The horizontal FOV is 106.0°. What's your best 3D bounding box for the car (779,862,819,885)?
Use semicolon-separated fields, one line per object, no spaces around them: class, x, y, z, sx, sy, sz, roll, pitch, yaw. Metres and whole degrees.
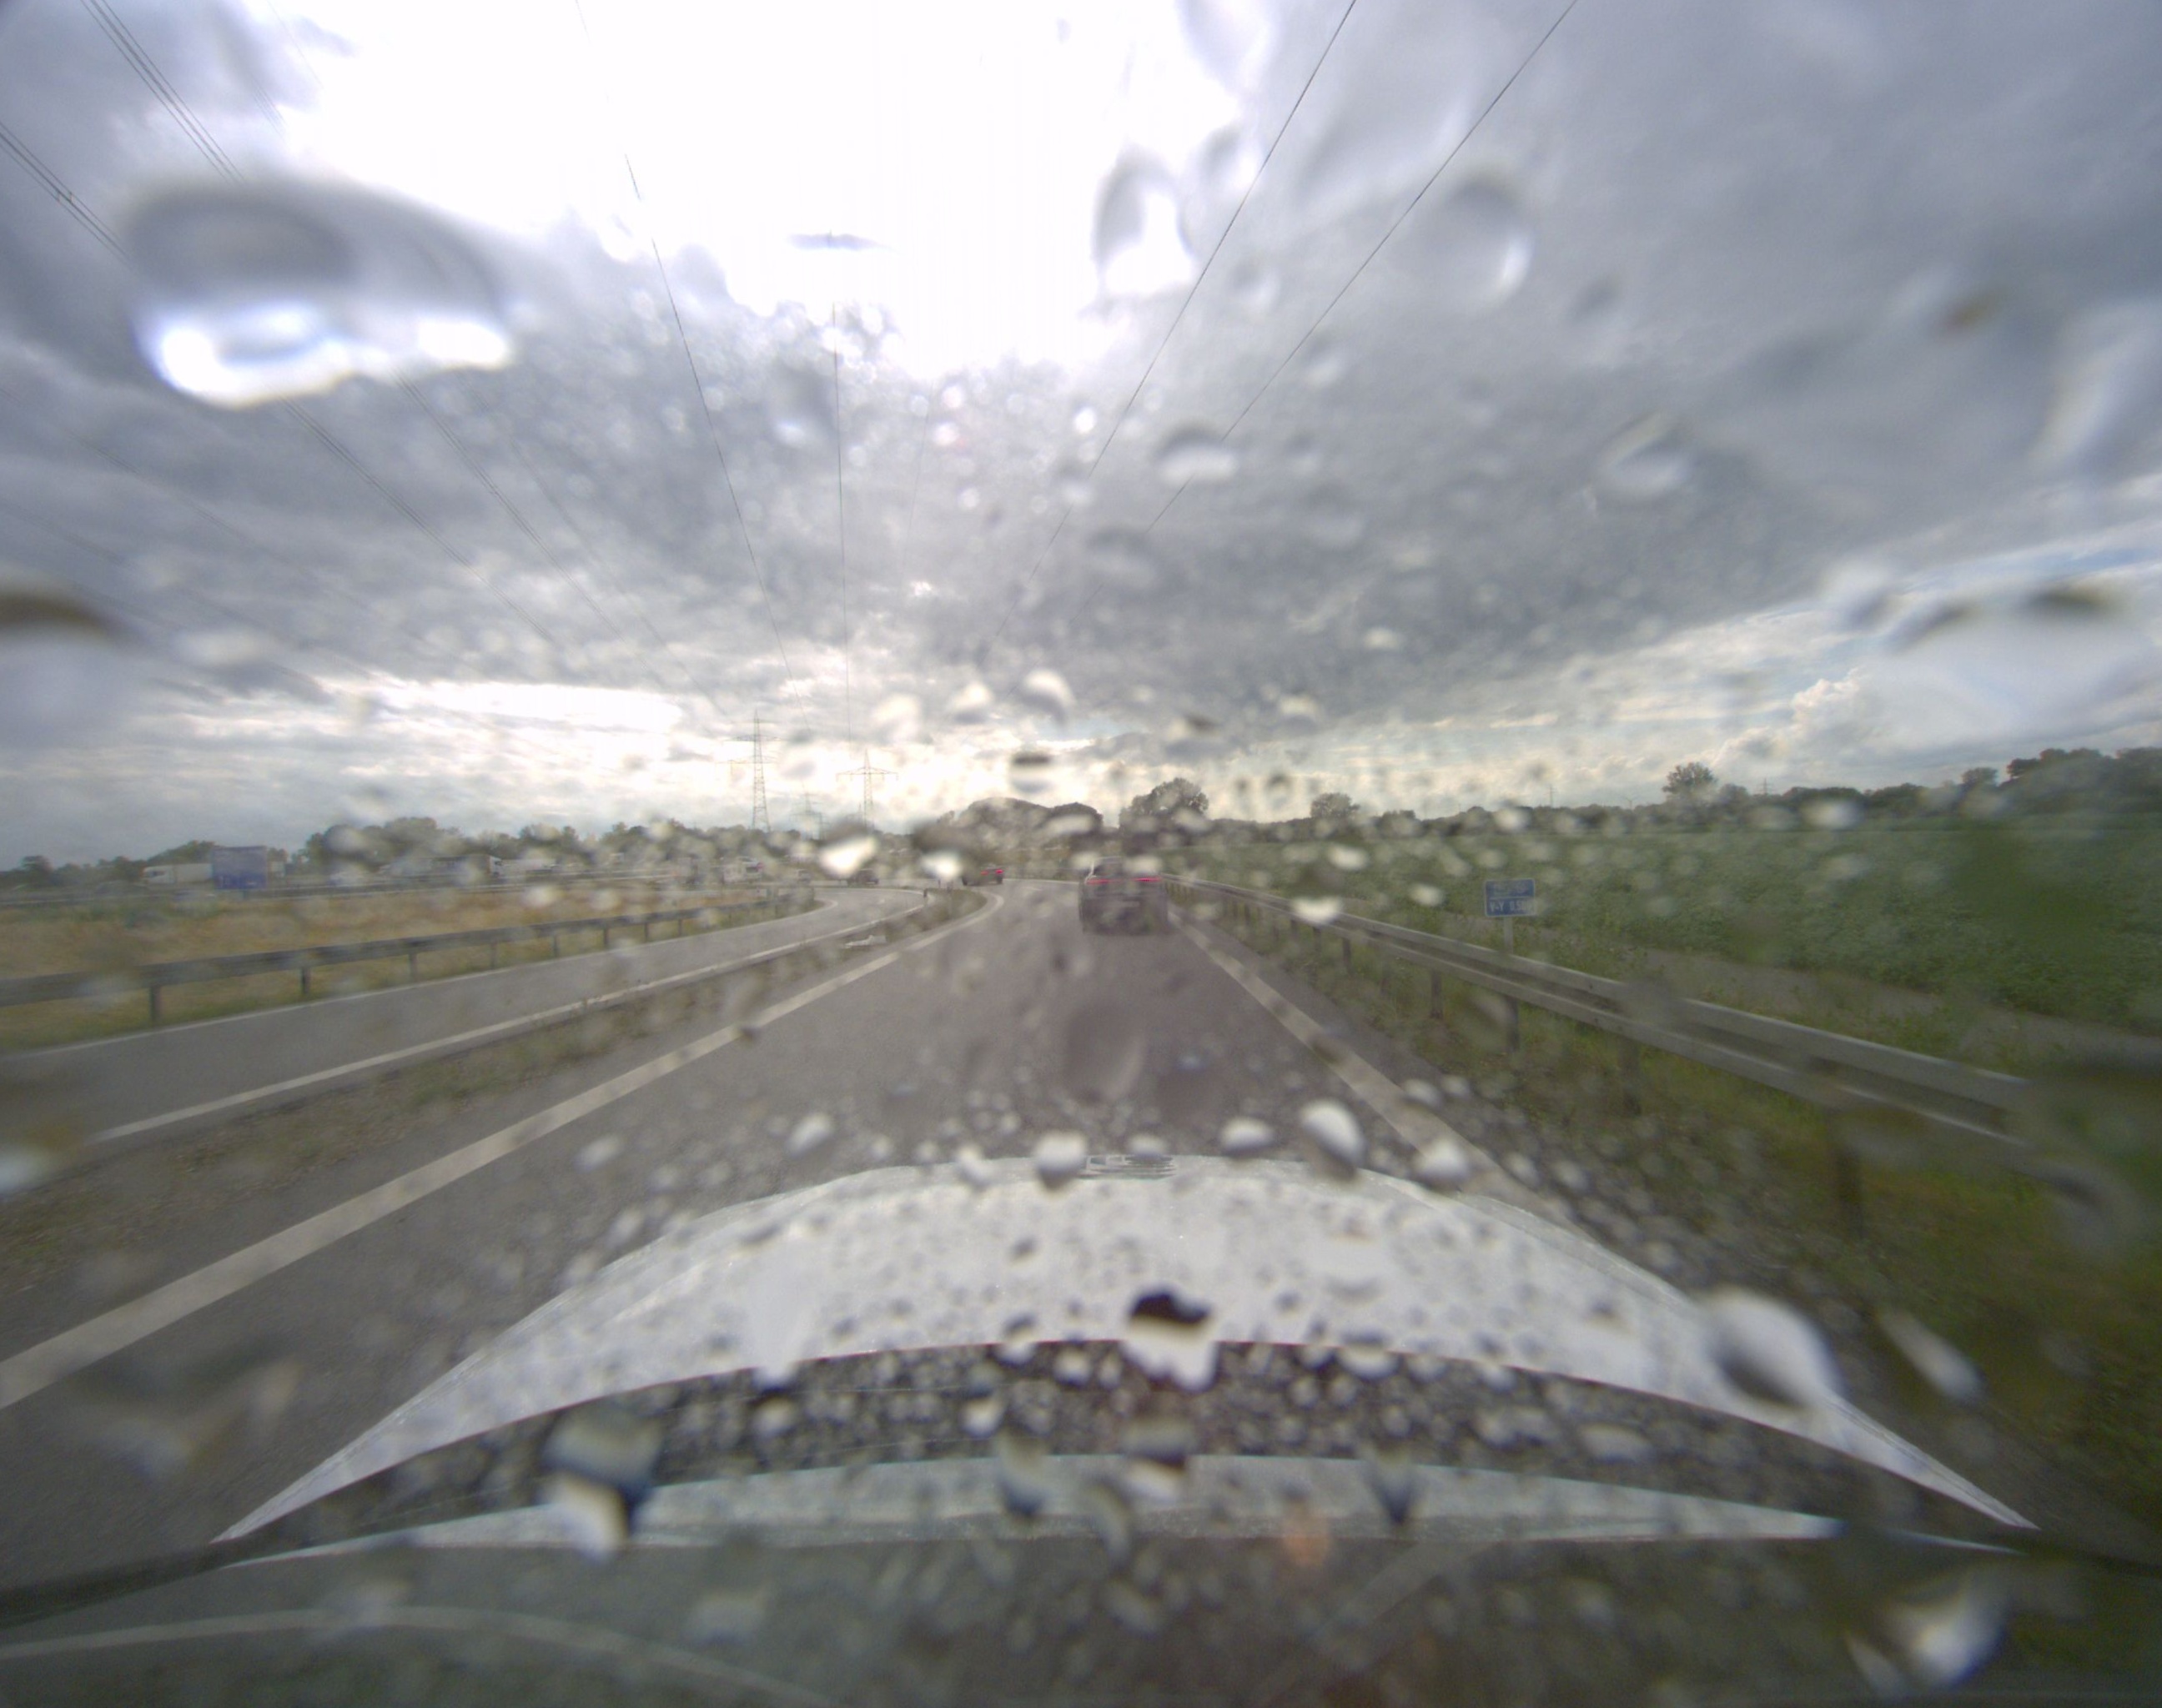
car;-31.115;2.123;89.927;2.372;2.306;5.068;-4;3;-41

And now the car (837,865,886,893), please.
car;-20.900;2.299;77.437;2.372;2.306;5.068;-4;3;-41

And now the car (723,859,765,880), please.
car;-40.272;1.797;97.272;5.062;2.306;2.374;0;3;40

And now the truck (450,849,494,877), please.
truck;-105.164;1.506;140.746;3.045;4.478;5.095;-1;2;16

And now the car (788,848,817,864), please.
car;-67.189;0.490;196.508;3.369;3.610;9.052;-2;0;3

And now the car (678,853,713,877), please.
car;-53.730;1.516;113.515;3.160;2.950;7.131;-4;3;-35

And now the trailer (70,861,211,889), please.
trailer;-144.555;3.075;125.676;2.827;3.671;14.166;-1;1;17

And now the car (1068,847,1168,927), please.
car;0.773;0.647;18.453;1.987;1.566;4.149;-1;0;1

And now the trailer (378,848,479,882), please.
trailer;-107.193;1.689;134.177;3.024;4.634;13.364;-1;3;17

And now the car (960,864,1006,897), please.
car;-7.125;1.854;58.666;2.128;2.017;5.499;-3;2;-19
